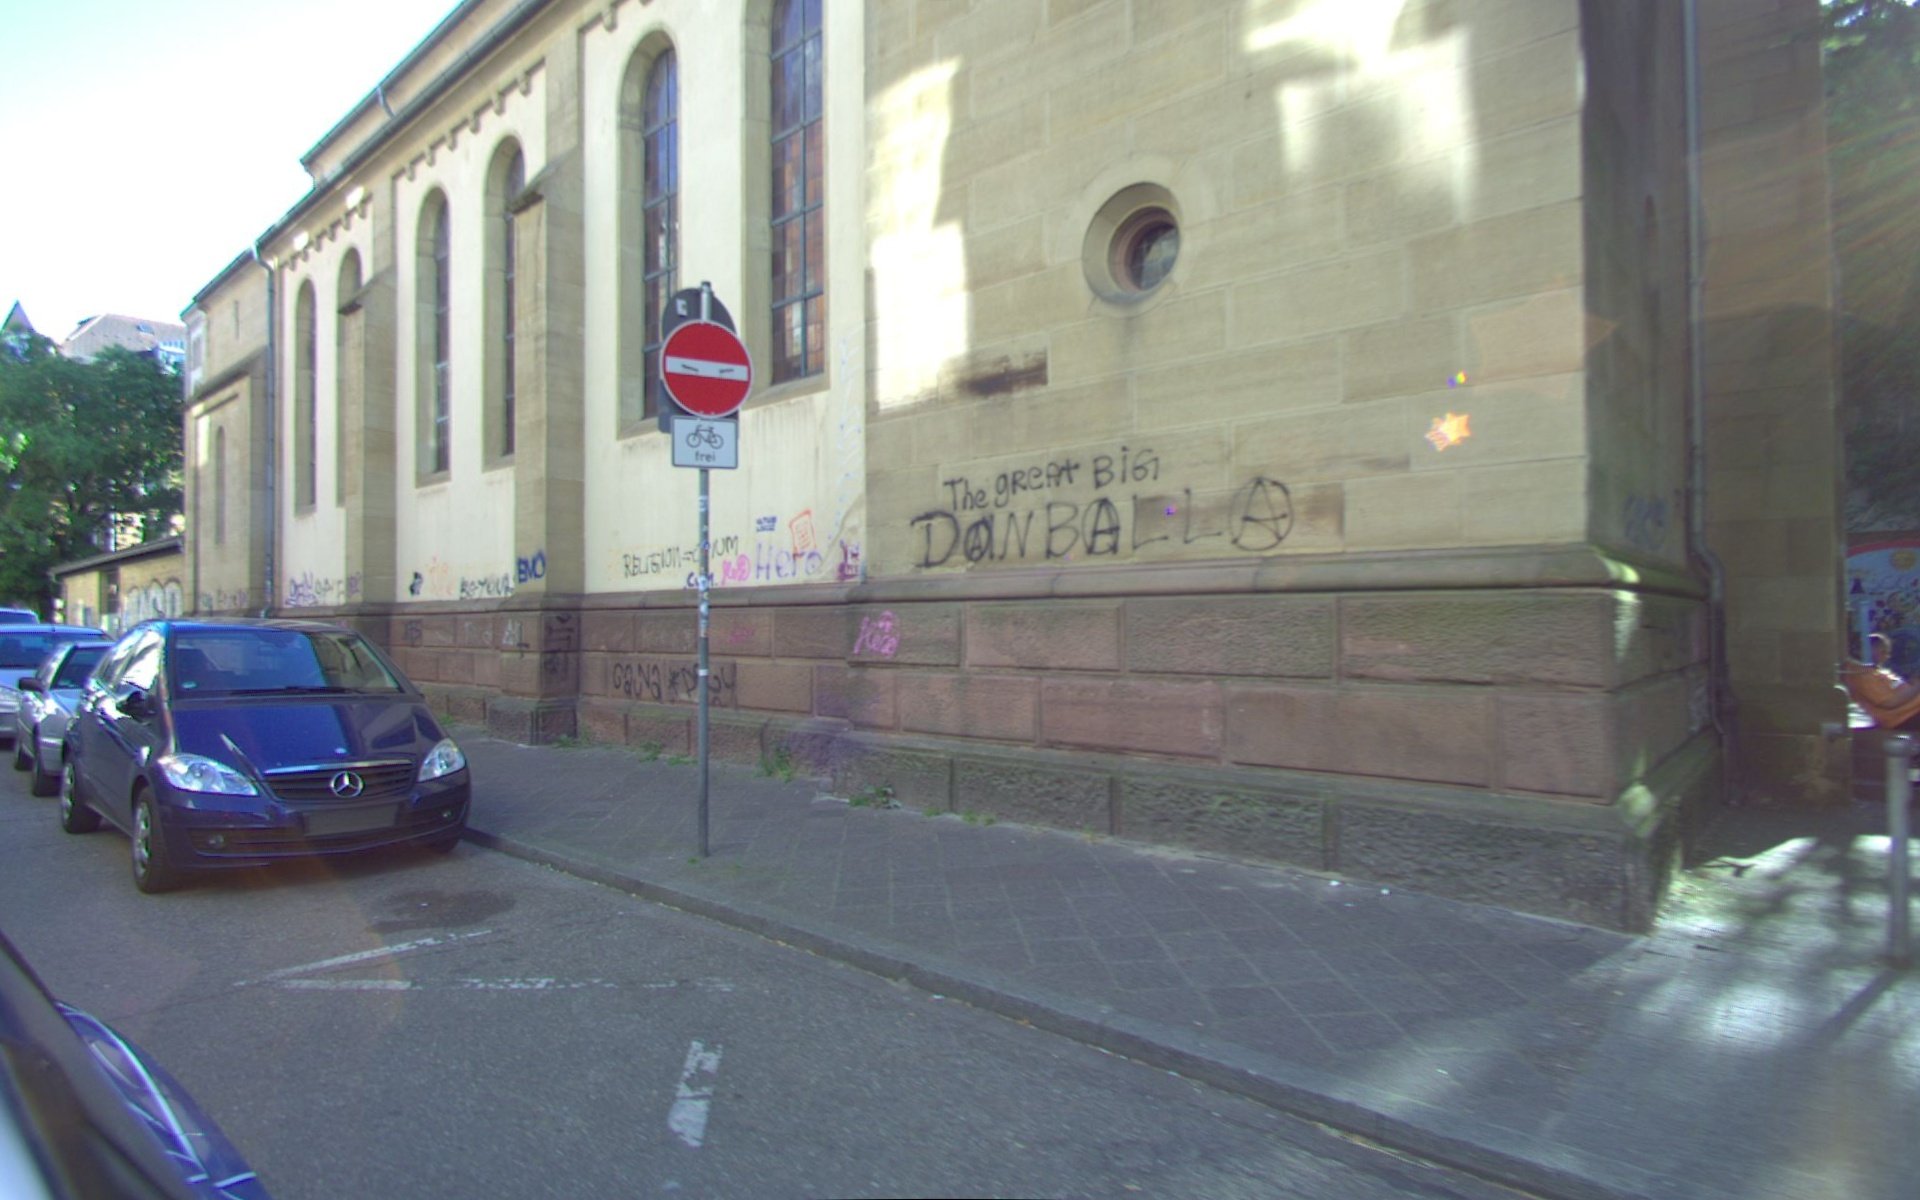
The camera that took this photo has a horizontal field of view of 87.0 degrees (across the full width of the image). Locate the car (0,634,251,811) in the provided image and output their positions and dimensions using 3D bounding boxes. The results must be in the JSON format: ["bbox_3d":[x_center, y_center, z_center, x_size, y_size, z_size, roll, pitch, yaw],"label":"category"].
[{"bbox_3d":[-8.737,1.082,10.400,4.146,1.374,1.555,-1,0,43],"label":"car"}]

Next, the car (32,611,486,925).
[{"bbox_3d":[-5.036,0.878,7.065,3.833,1.564,1.775,-1,0,42],"label":"car"}]

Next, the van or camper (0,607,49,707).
[{"bbox_3d":[-20.708,1.166,21.185,4.561,1.966,1.958,-2,-2,42],"label":"van or camper"}]

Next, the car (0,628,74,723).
[{"bbox_3d":[-16.601,1.249,17.365,3.735,1.492,1.674,-2,-2,42],"label":"car"}]

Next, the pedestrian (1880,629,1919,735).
[{"bbox_3d":[7.878,0.618,7.593,1.406,0.766,0.946,-1,0,41],"label":"pedestrian"}]

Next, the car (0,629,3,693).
[{"bbox_3d":[-25.500,1.535,25.566,3.639,1.578,1.631,-2,-2,42],"label":"car"}]

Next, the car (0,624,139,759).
[{"bbox_3d":[-12.709,1.140,13.867,3.999,1.579,1.701,-1,0,42],"label":"car"}]
